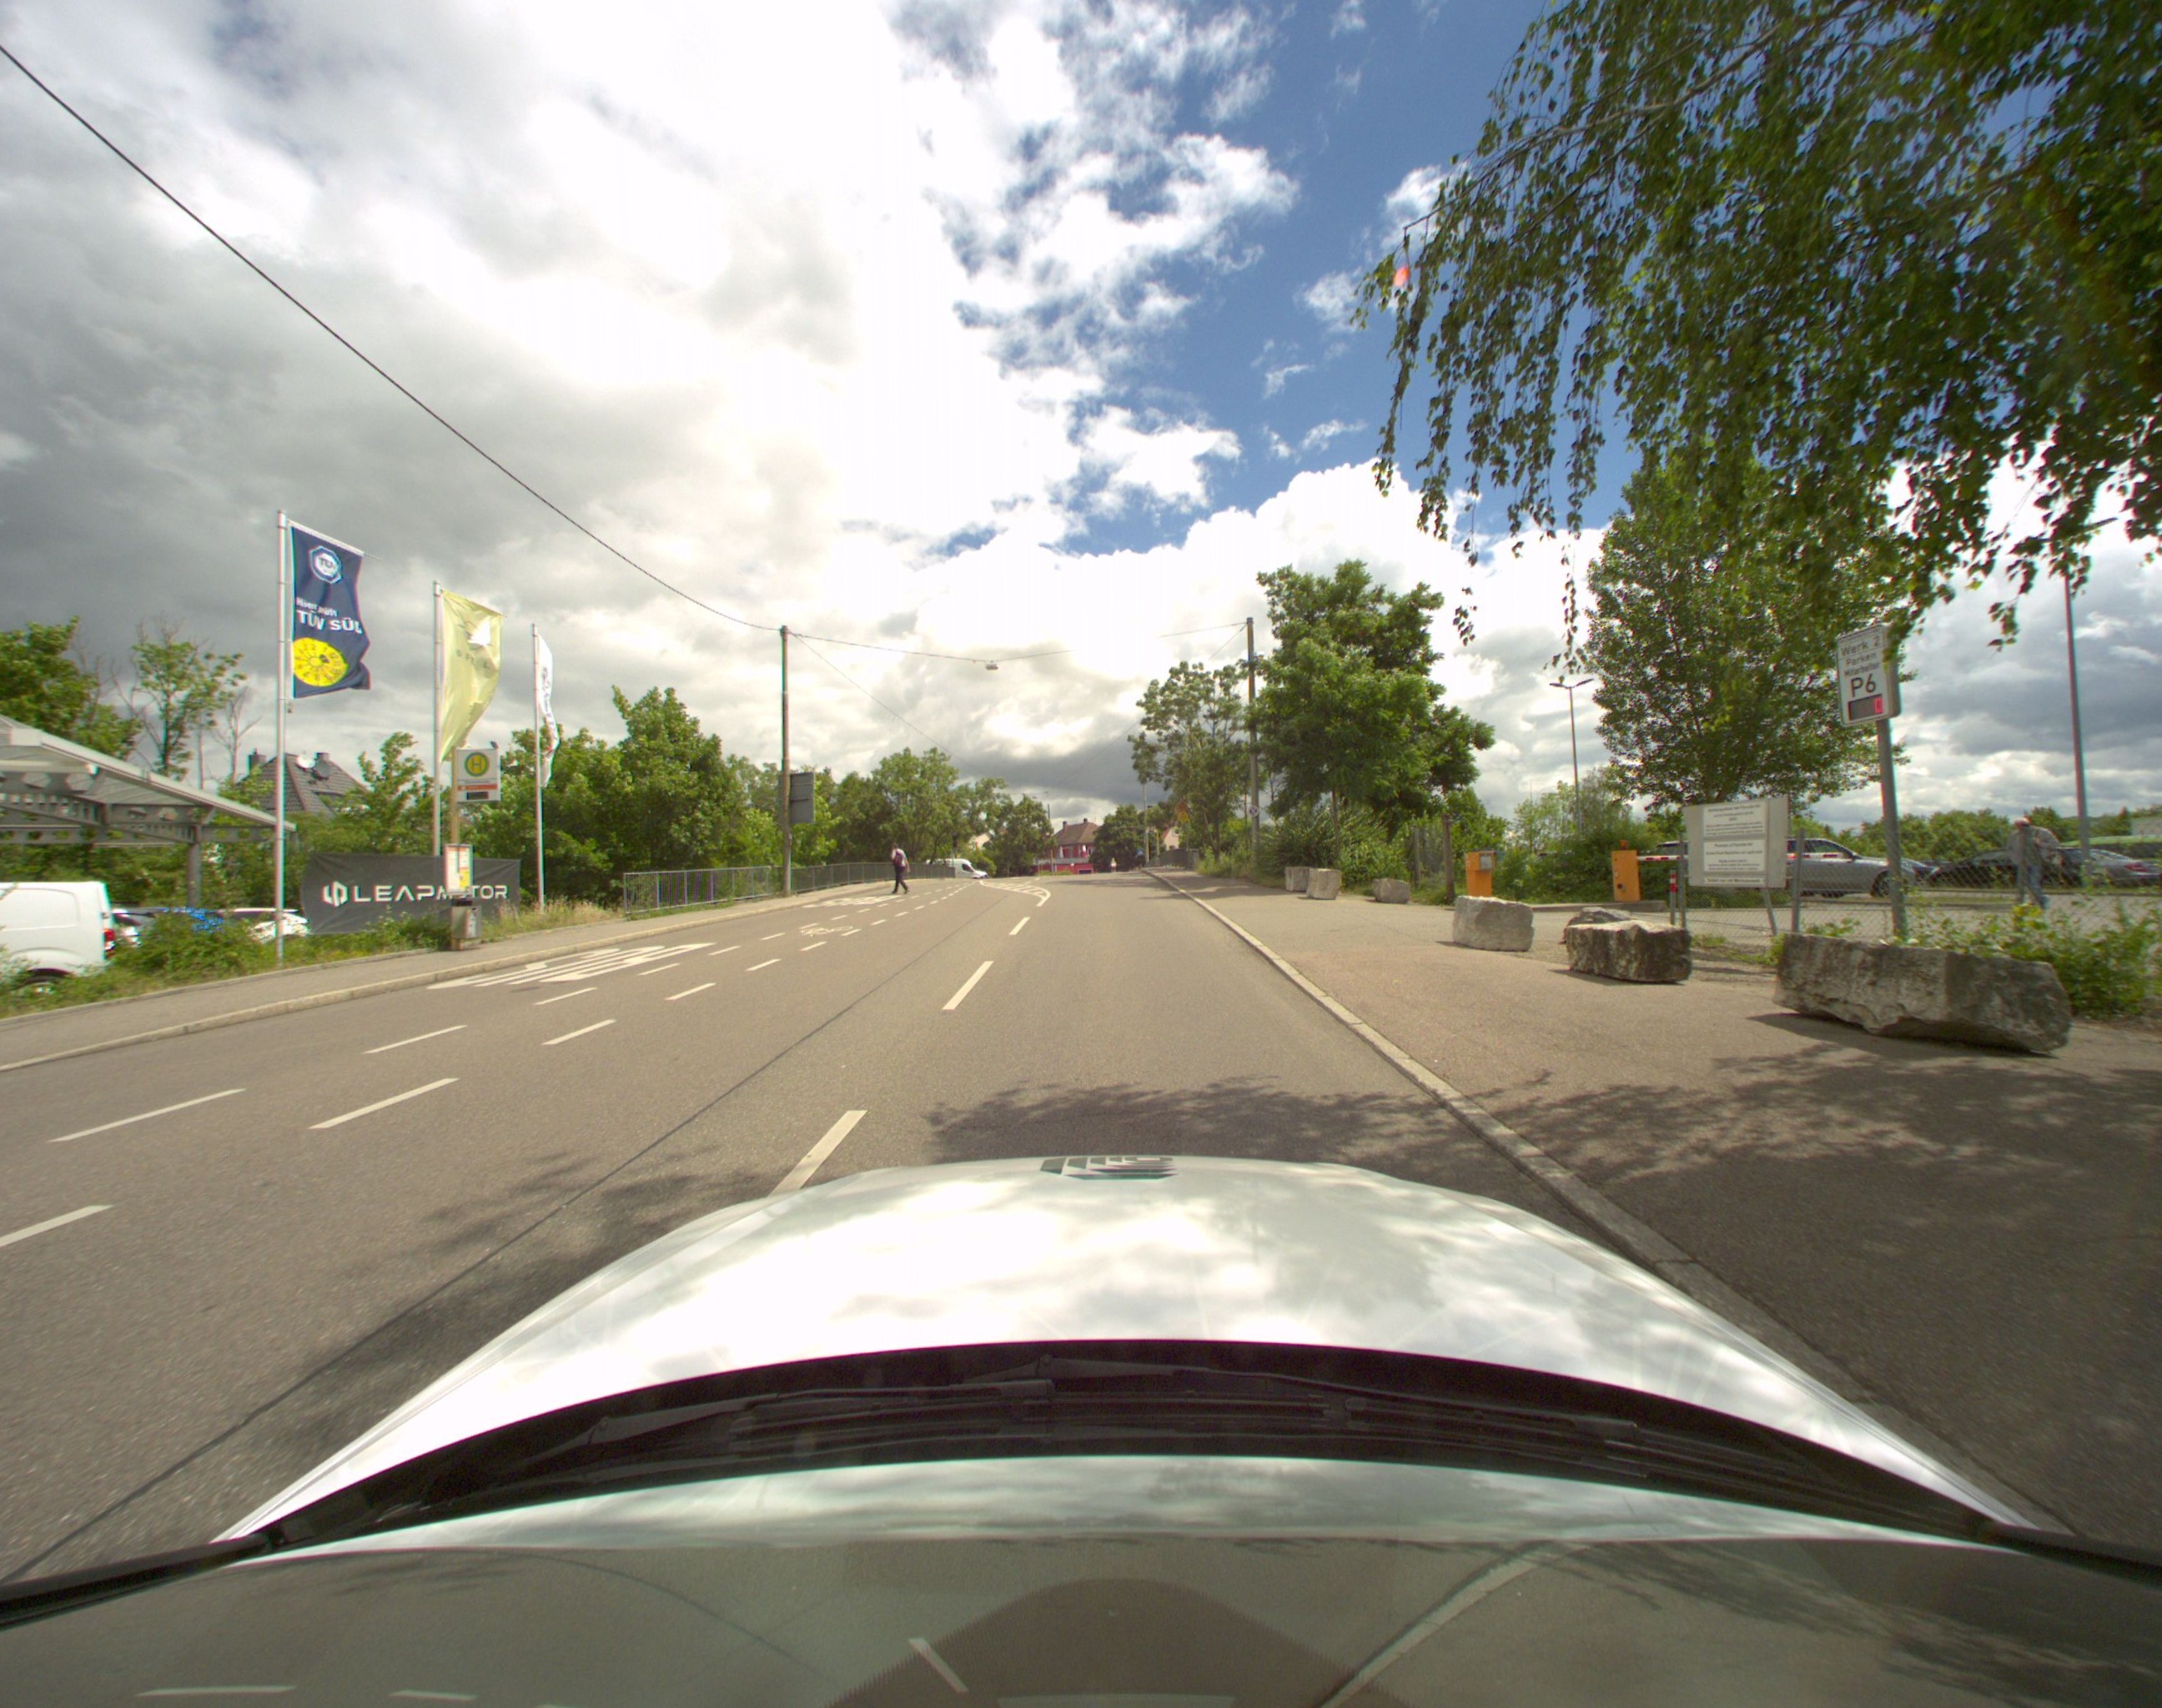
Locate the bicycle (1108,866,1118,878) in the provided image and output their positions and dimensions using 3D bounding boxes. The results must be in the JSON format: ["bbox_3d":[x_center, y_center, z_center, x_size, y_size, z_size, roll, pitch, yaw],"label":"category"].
[{"bbox_3d":[2.737,1.538,70.142,0.684,0.878,2.105,-2,-6,7],"label":"bicycle"}]

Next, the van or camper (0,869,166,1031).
[{"bbox_3d":[-14.772,1.235,9.666,1.964,1.963,4.990,-2,-1,35],"label":"van or camper"}]

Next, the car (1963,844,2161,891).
[{"bbox_3d":[32.333,0.491,26.894,1.720,1.391,3.975,2,-2,-18],"label":"car"}]

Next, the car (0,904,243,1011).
[{"bbox_3d":[-16.546,1.640,13.012,1.795,1.467,4.023,-3,-2,26],"label":"car"}]

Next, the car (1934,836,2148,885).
[{"bbox_3d":[29.840,0.259,25.505,1.720,1.391,3.975,2,-2,-18],"label":"car"}]

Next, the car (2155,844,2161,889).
[{"bbox_3d":[31.101,0.304,20.910,1.502,1.262,3.975,2,-2,-18],"label":"car"}]

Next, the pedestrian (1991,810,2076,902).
[{"bbox_3d":[18.350,0.057,15.703,0.816,1.697,0.873,2,-3,-27],"label":"pedestrian"}]

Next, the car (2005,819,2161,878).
[{"bbox_3d":[35.250,-0.148,27.774,1.723,1.875,4.611,2,-3,-24],"label":"car"}]

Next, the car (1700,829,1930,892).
[{"bbox_3d":[18.246,0.183,20.417,3.965,1.486,1.780,1,-2,7],"label":"car"}]

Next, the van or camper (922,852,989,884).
[{"bbox_3d":[-11.871,1.326,77.204,5.885,2.567,2.195,-4,-4,3],"label":"van or camper"}]

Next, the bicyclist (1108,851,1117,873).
[{"bbox_3d":[2.695,0.701,70.094,0.681,1.826,1.082,-2,-6,6],"label":"bicyclist"}]

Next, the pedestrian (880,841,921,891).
[{"bbox_3d":[-6.715,0.444,30.297,1.023,1.837,1.006,-1,0,33],"label":"pedestrian"}]
